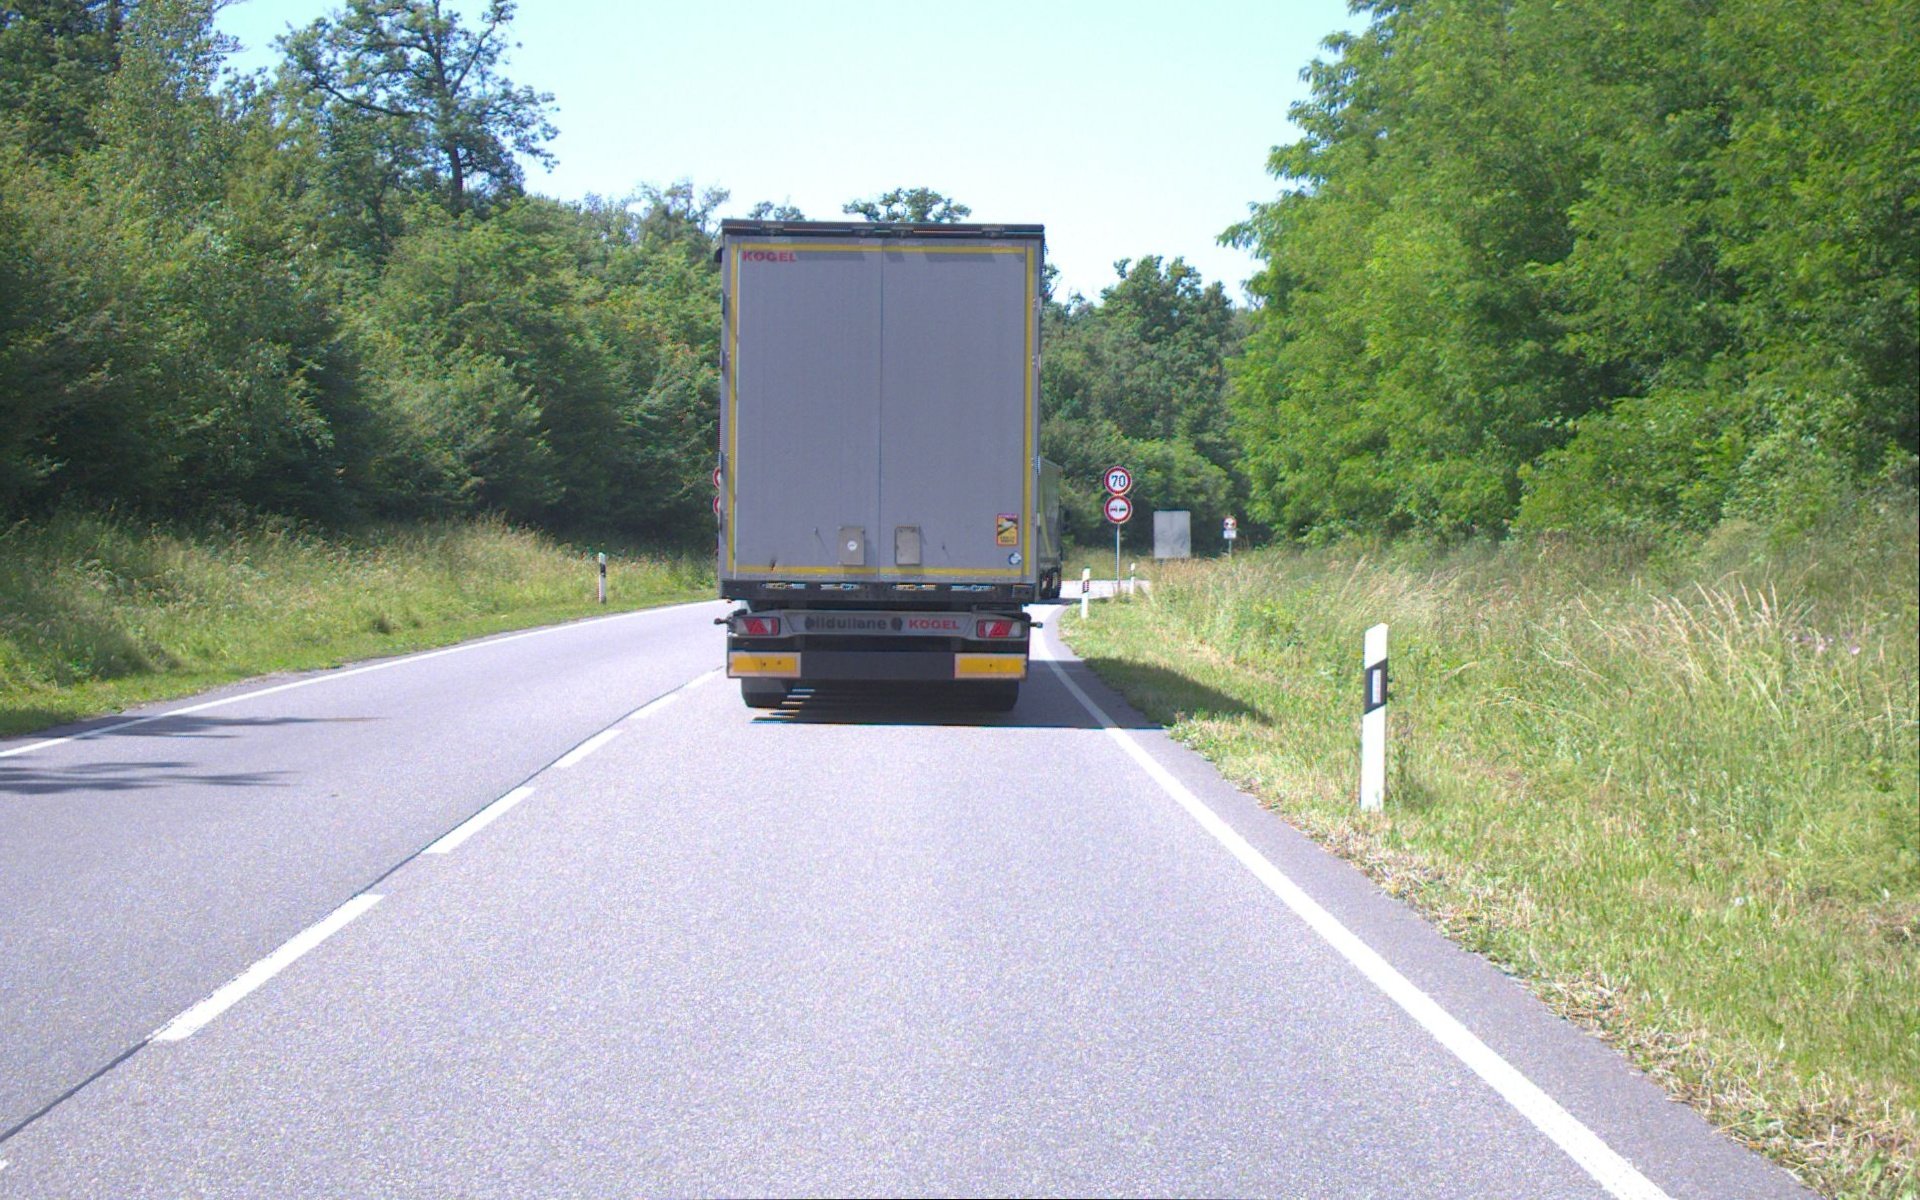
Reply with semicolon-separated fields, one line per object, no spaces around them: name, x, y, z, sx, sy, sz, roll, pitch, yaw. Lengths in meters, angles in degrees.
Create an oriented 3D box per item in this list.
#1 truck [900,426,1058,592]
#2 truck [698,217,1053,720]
truck;0.714;-2.549;98.085;3.794;4.358;14.919;1;1;3
truck;-0.764;-1.167;33.045;2.761;3.933;12.199;0;1;-1
